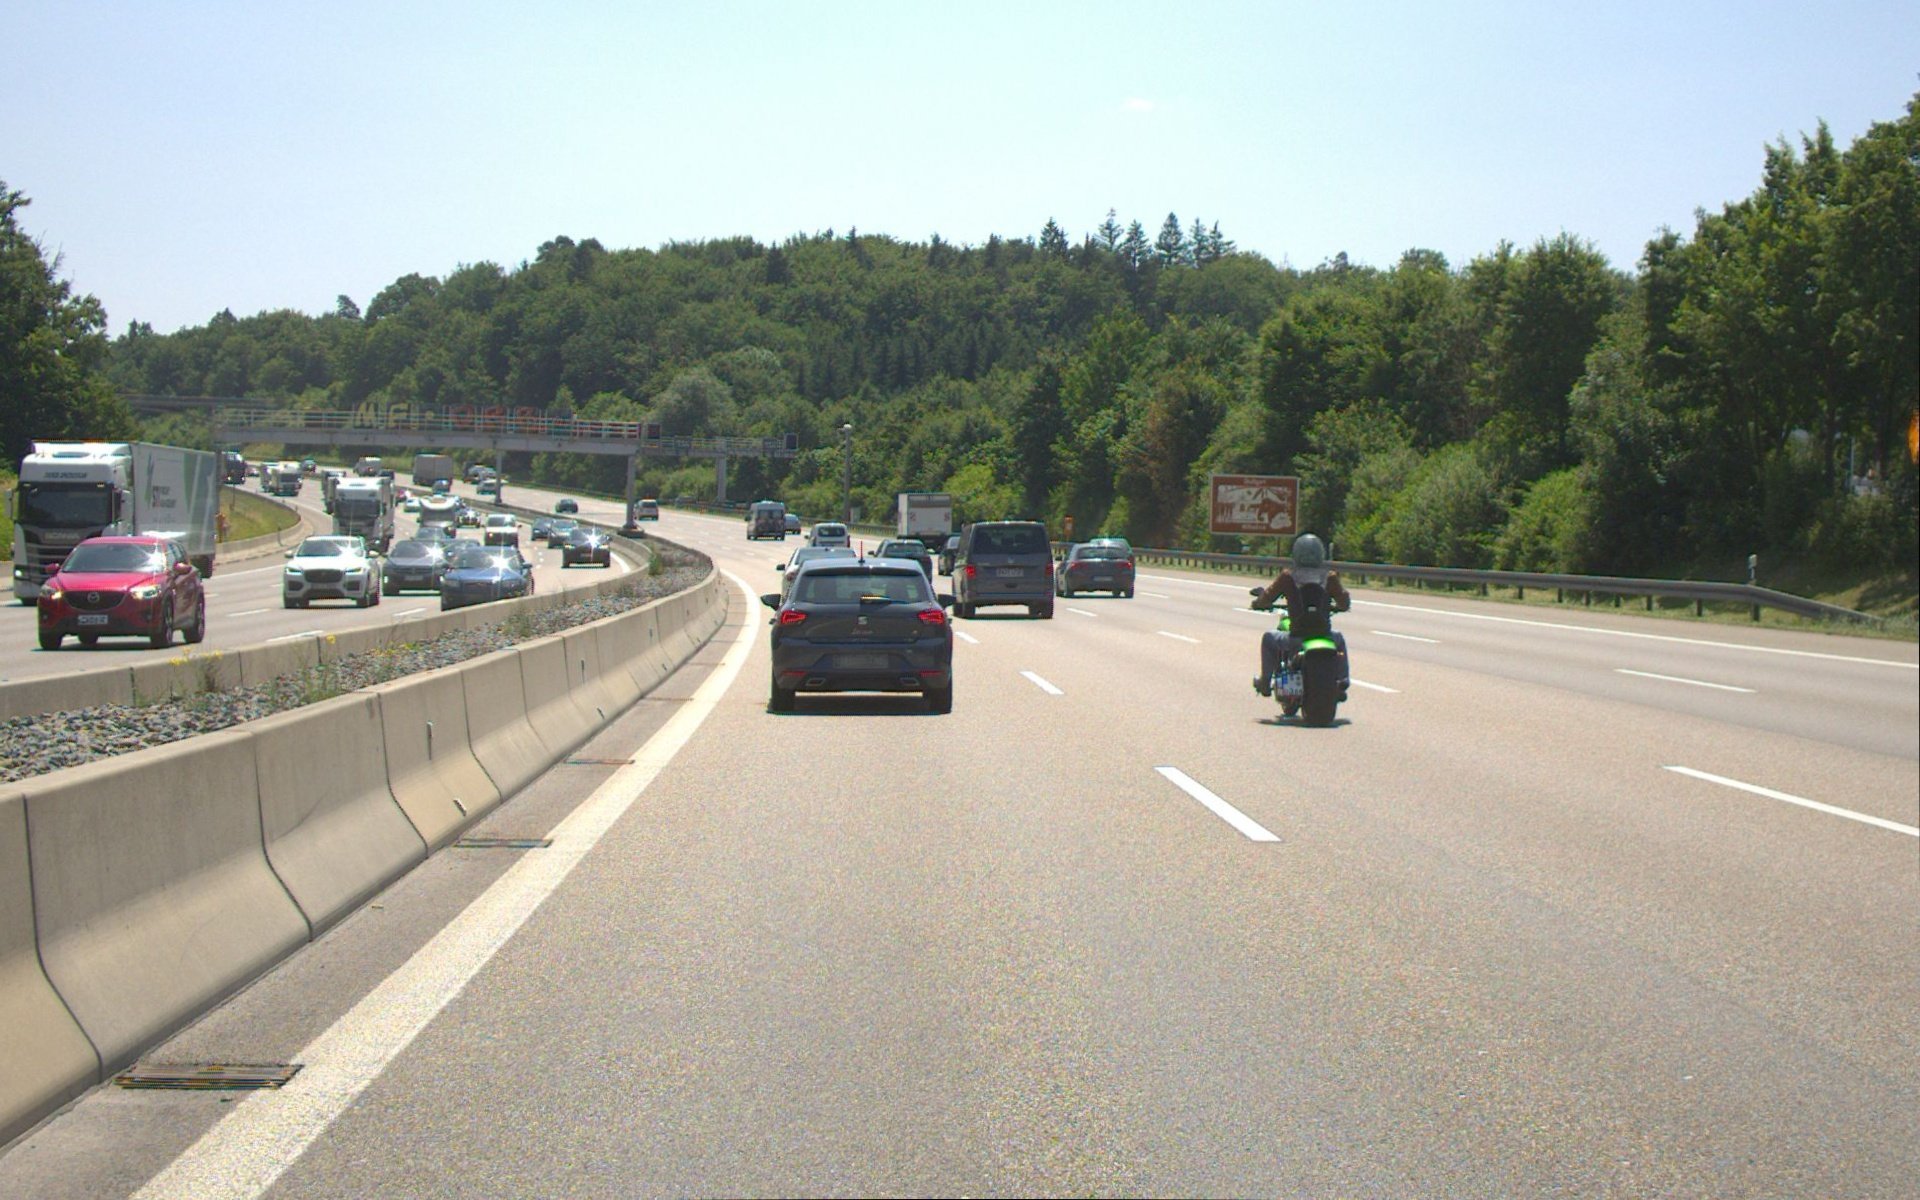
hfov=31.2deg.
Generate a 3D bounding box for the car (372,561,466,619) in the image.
[{"bbox_3d":[-15.075,-0.301,96.039,2.024,1.543,4.882,0,1,-2],"label":"car"}]

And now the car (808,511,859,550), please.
[{"bbox_3d":[-5.892,-3.226,159.446,1.993,1.678,4.425,3,1,-6],"label":"car"}]

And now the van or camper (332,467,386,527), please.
[{"bbox_3d":[-31.191,-5.388,178.654,2.314,2.762,7.166,3,3,-8],"label":"van or camper"}]

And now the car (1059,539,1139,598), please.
[{"bbox_3d":[3.631,-0.828,90.336,1.675,1.427,3.685,2,0,-3],"label":"car"}]

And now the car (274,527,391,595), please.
[{"bbox_3d":[-14.631,-0.926,80.385,1.993,1.543,4.882,0,1,-2],"label":"car"}]

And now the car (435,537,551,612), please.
[{"bbox_3d":[-9.926,-0.561,73.404,1.993,1.543,4.882,0,1,-2],"label":"car"}]

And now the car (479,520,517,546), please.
[{"bbox_3d":[-26.284,-3.828,195.699,1.993,1.349,3.837,3,1,-7],"label":"car"}]

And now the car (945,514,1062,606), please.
[{"bbox_3d":[0.868,-0.836,71.258,2.097,1.845,4.082,1,1,-4],"label":"car"}]

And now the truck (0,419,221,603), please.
[{"bbox_3d":[-22.016,-2.234,89.855,2.899,4.336,16.559,1,1,-4],"label":"truck"}]

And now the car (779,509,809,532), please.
[{"bbox_3d":[-12.133,-5.803,251.079,1.993,1.568,4.001,3,1,-1],"label":"car"}]

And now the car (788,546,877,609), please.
[{"bbox_3d":[-2.706,-0.494,72.219,1.782,1.261,3.460,-1,1,-3],"label":"car"}]

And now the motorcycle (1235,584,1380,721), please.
[{"bbox_3d":[3.036,0.439,30.278,0.977,1.125,2.271,1,1,-1],"label":"motorcycle"}]

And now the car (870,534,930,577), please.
[{"bbox_3d":[-1.944,-1.444,110.506,1.842,1.218,4.225,3,1,-1],"label":"car"}]

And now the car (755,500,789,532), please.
[{"bbox_3d":[-12.473,-5.557,228.001,1.993,2.006,4.675,3,1,-5],"label":"car"}]

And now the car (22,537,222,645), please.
[{"bbox_3d":[-12.555,-0.171,51.811,1.993,1.543,4.882,0,1,-2],"label":"car"}]

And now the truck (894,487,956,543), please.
[{"bbox_3d":[-1.871,-4.566,183.743,2.726,2.776,5.684,3,1,-5],"label":"truck"}]

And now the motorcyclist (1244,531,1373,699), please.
[{"bbox_3d":[3.042,0.122,30.110,0.962,1.433,1.235,1,1,-1],"label":"motorcyclist"}]

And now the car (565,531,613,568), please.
[{"bbox_3d":[-15.673,-2.127,145.260,1.986,1.543,4.882,0,1,-6],"label":"car"}]

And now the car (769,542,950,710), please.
[{"bbox_3d":[-0.930,0.205,32.919,1.624,1.482,3.685,0,1,-1],"label":"car"}]

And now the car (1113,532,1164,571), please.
[{"bbox_3d":[6.030,-1.631,116.500,1.608,1.208,3.459,1,-1,1],"label":"car"}]
